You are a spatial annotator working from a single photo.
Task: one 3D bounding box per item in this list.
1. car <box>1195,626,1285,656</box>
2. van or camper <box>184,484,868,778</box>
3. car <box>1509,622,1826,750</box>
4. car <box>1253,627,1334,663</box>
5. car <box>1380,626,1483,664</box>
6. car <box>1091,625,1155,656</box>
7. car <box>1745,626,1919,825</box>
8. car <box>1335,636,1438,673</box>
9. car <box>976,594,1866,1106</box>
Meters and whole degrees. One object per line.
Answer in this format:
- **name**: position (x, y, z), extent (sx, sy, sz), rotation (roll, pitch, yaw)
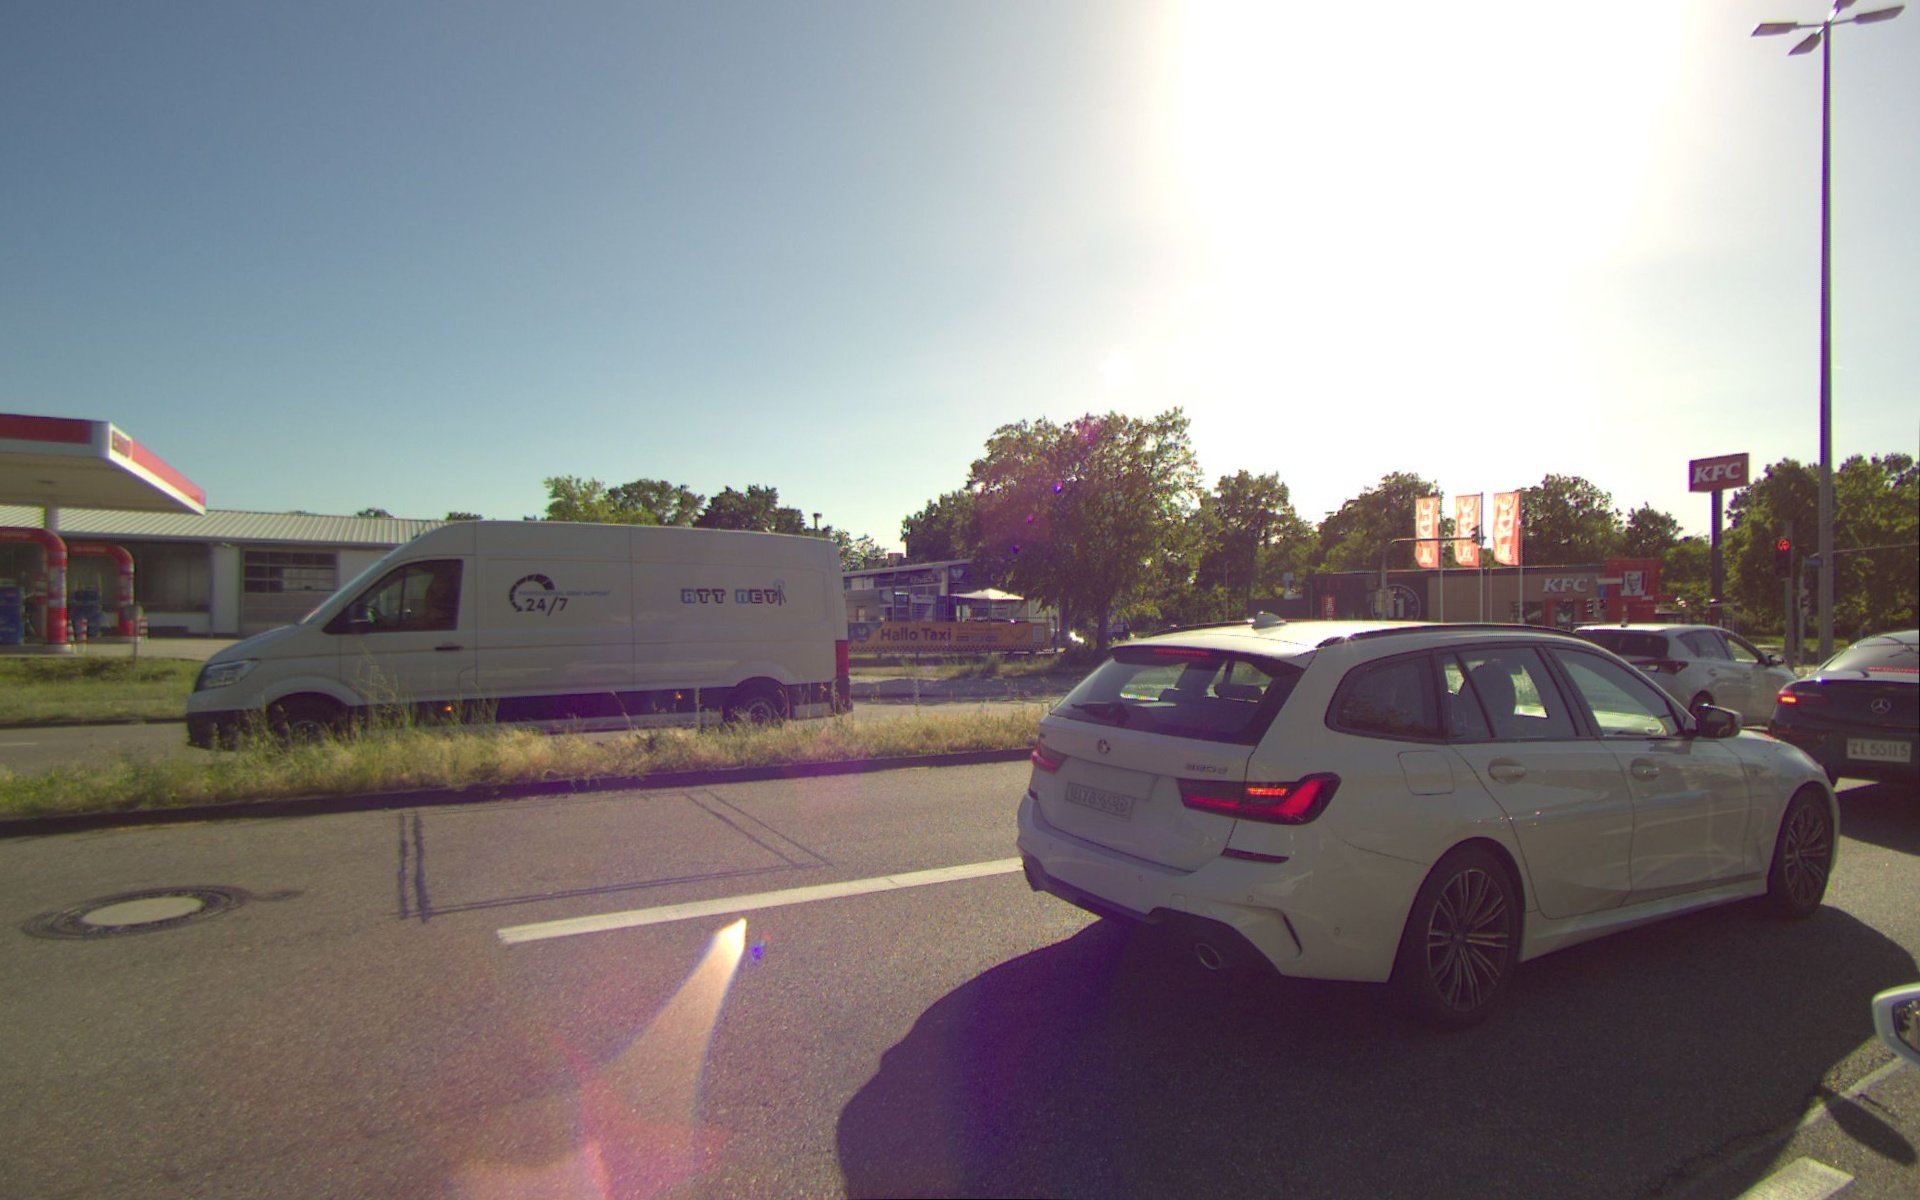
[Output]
- **car**: position (14.652, 2.111, 52.876), extent (1.840, 1.449, 4.700), rotation (0, 0, -28)
- **van or camper**: position (-4.537, 0.334, 11.561), extent (6.675, 2.606, 2.167), rotation (1, -1, -31)
- **car**: position (9.497, 1.037, 13.415), extent (4.352, 1.448, 1.848), rotation (1, -1, -30)
- **car**: position (17.882, 2.400, 54.056), extent (1.802, 1.805, 4.021), rotation (1, -1, -28)
- **car**: position (21.874, 2.073, 46.732), extent (1.806, 1.616, 4.012), rotation (1, -1, -34)
- **car**: position (9.855, 2.422, 61.045), extent (1.738, 1.751, 3.969), rotation (1, -1, -29)
- **car**: position (8.786, 0.959, 8.617), extent (4.409, 1.433, 1.760), rotation (1, -1, -30)
- **car**: position (18.845, 2.368, 44.548), extent (1.801, 1.448, 4.022), rotation (1, -1, -27)
- **car**: position (2.407, 0.792, 4.896), extent (4.409, 1.529, 1.760), rotation (1, -1, -30)
